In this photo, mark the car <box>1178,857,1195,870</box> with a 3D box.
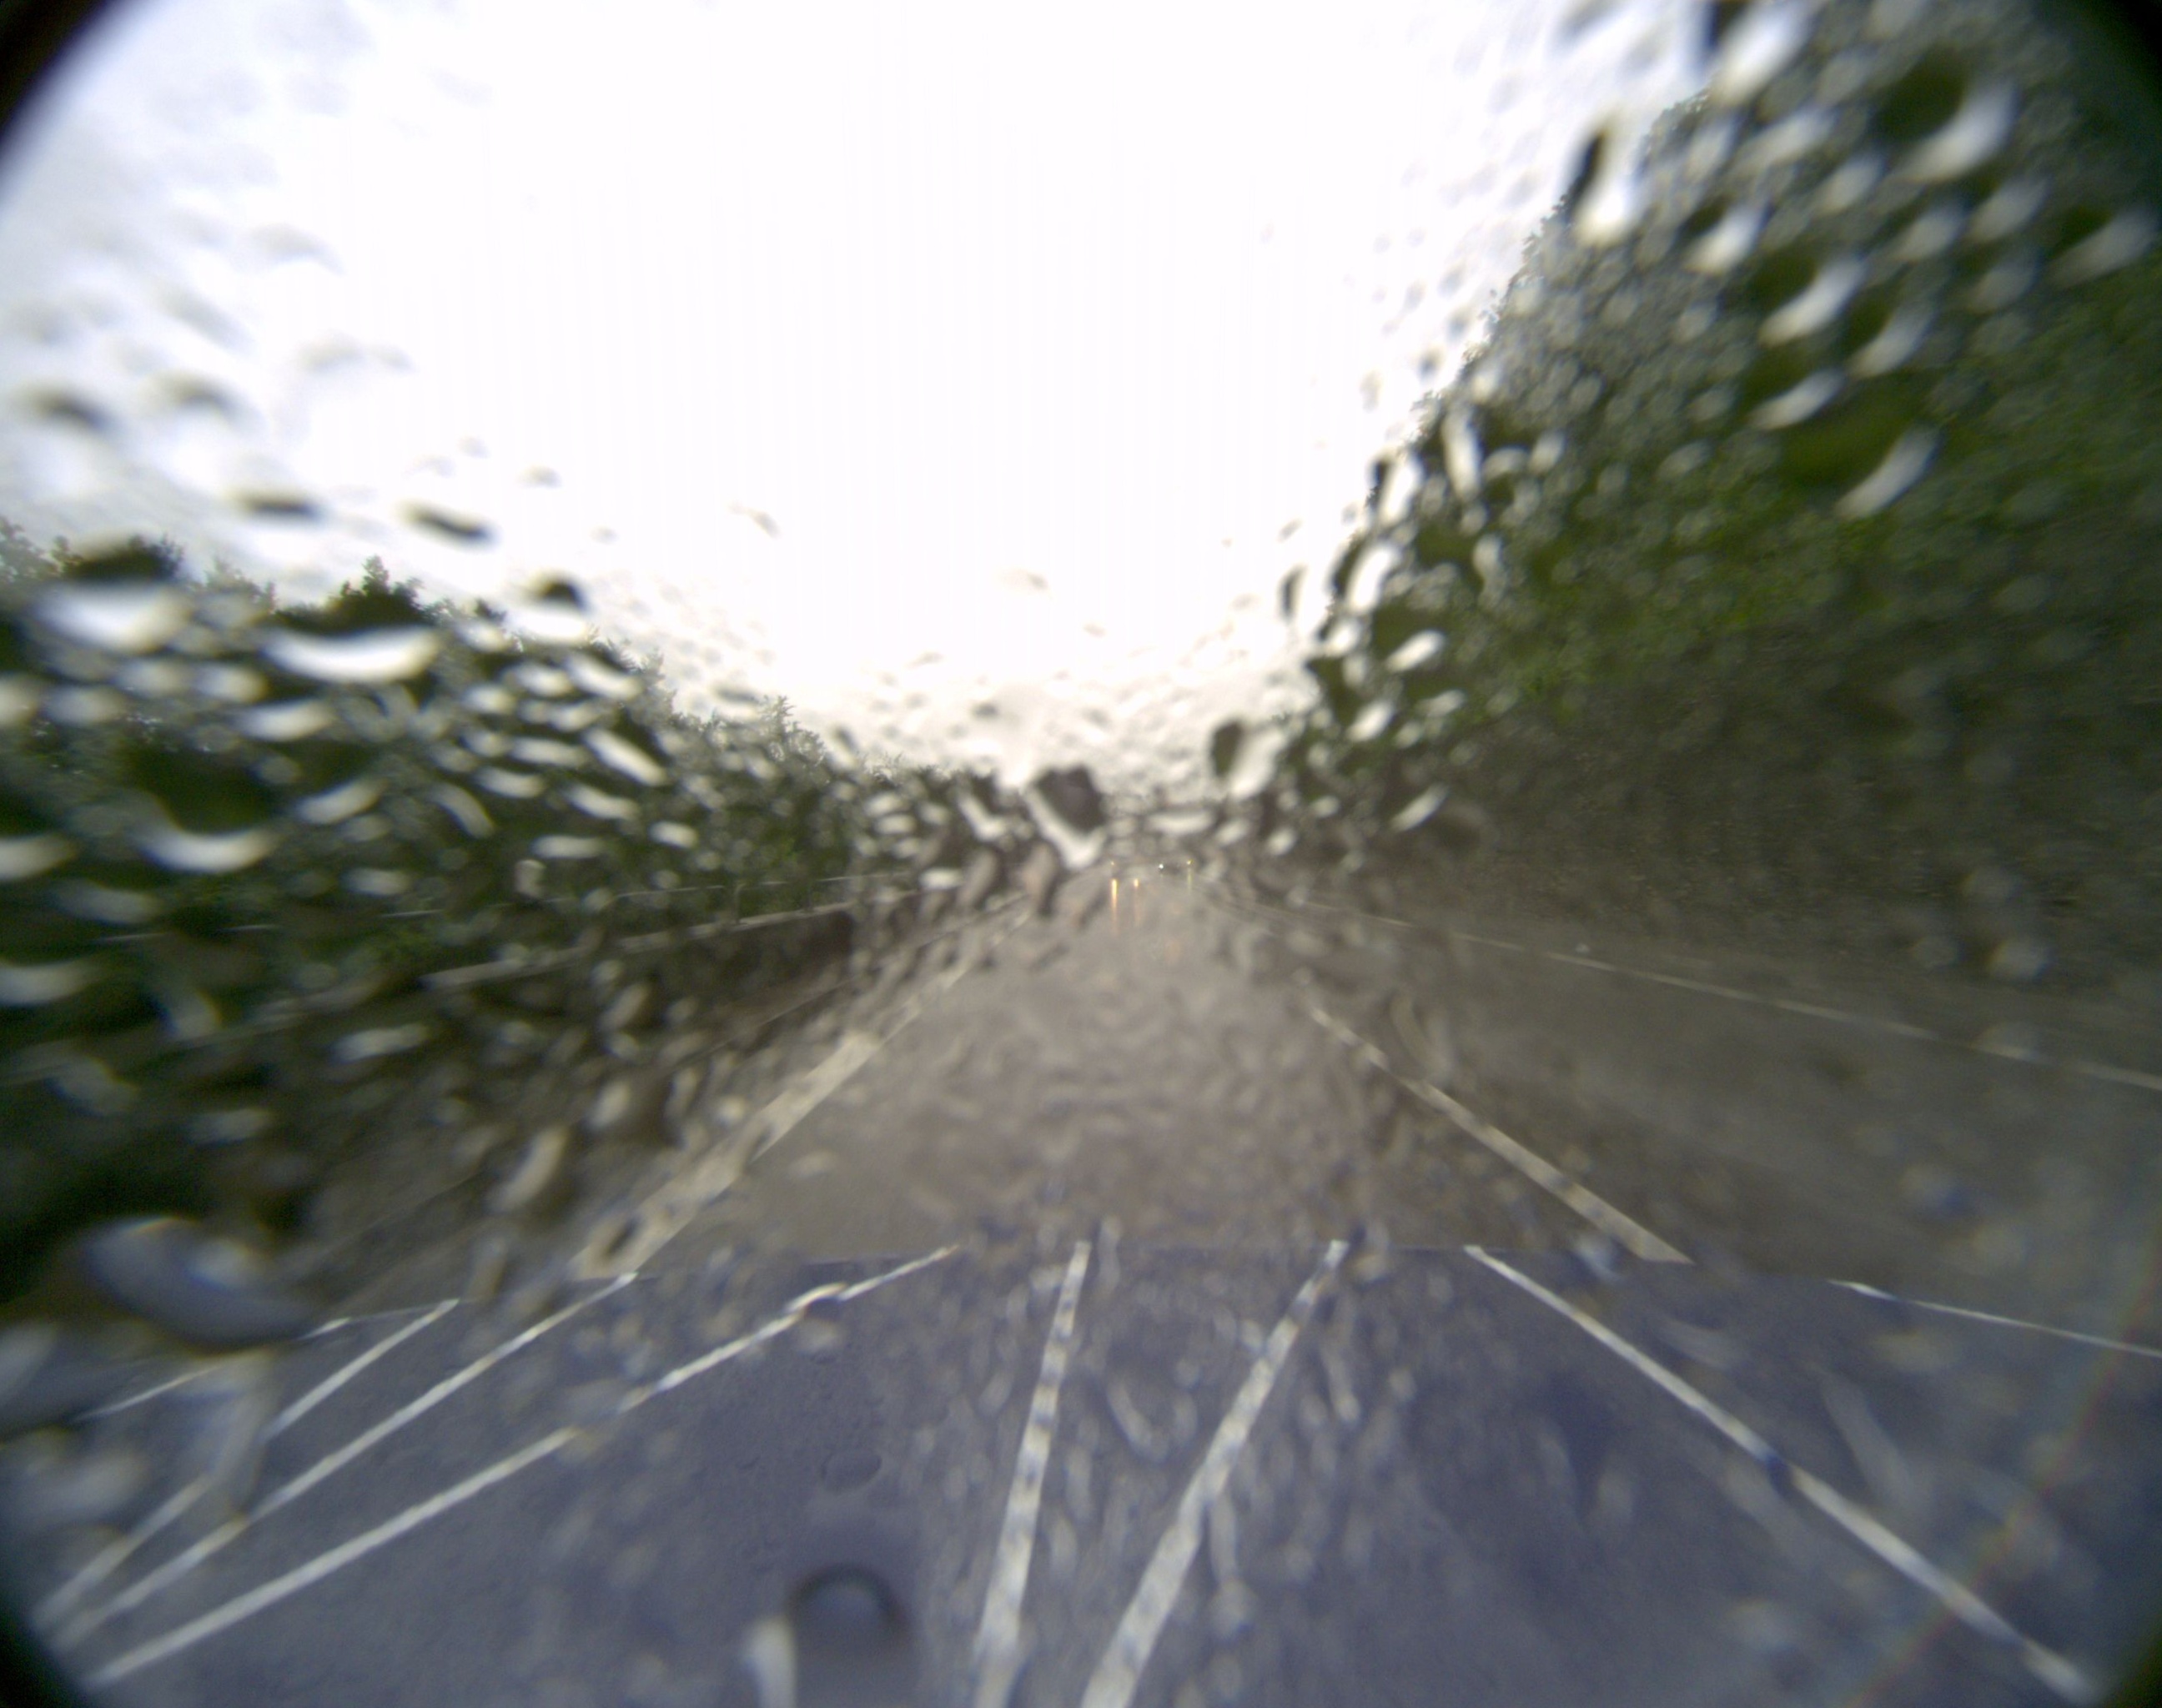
[{"bbox_3d":[13.374,1.164,96.139,1.826,1.375,4.003,-4,0,11],"label":"car"}]

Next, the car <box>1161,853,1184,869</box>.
[{"bbox_3d":[8.399,0.630,69.612,1.826,1.375,4.003,-2,0,9],"label":"car"}]

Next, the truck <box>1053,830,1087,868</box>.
[{"bbox_3d":[-1.282,-0.589,90.327,2.809,4.280,6.470,-1,0,10],"label":"truck"}]

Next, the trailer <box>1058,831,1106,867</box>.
[{"bbox_3d":[0.319,-0.590,97.827,2.938,4.280,14.251,-1,0,13],"label":"trailer"}]

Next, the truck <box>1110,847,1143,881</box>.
[{"bbox_3d":[3.710,0.770,60.372,2.107,2.481,8.008,0,-1,7],"label":"truck"}]
